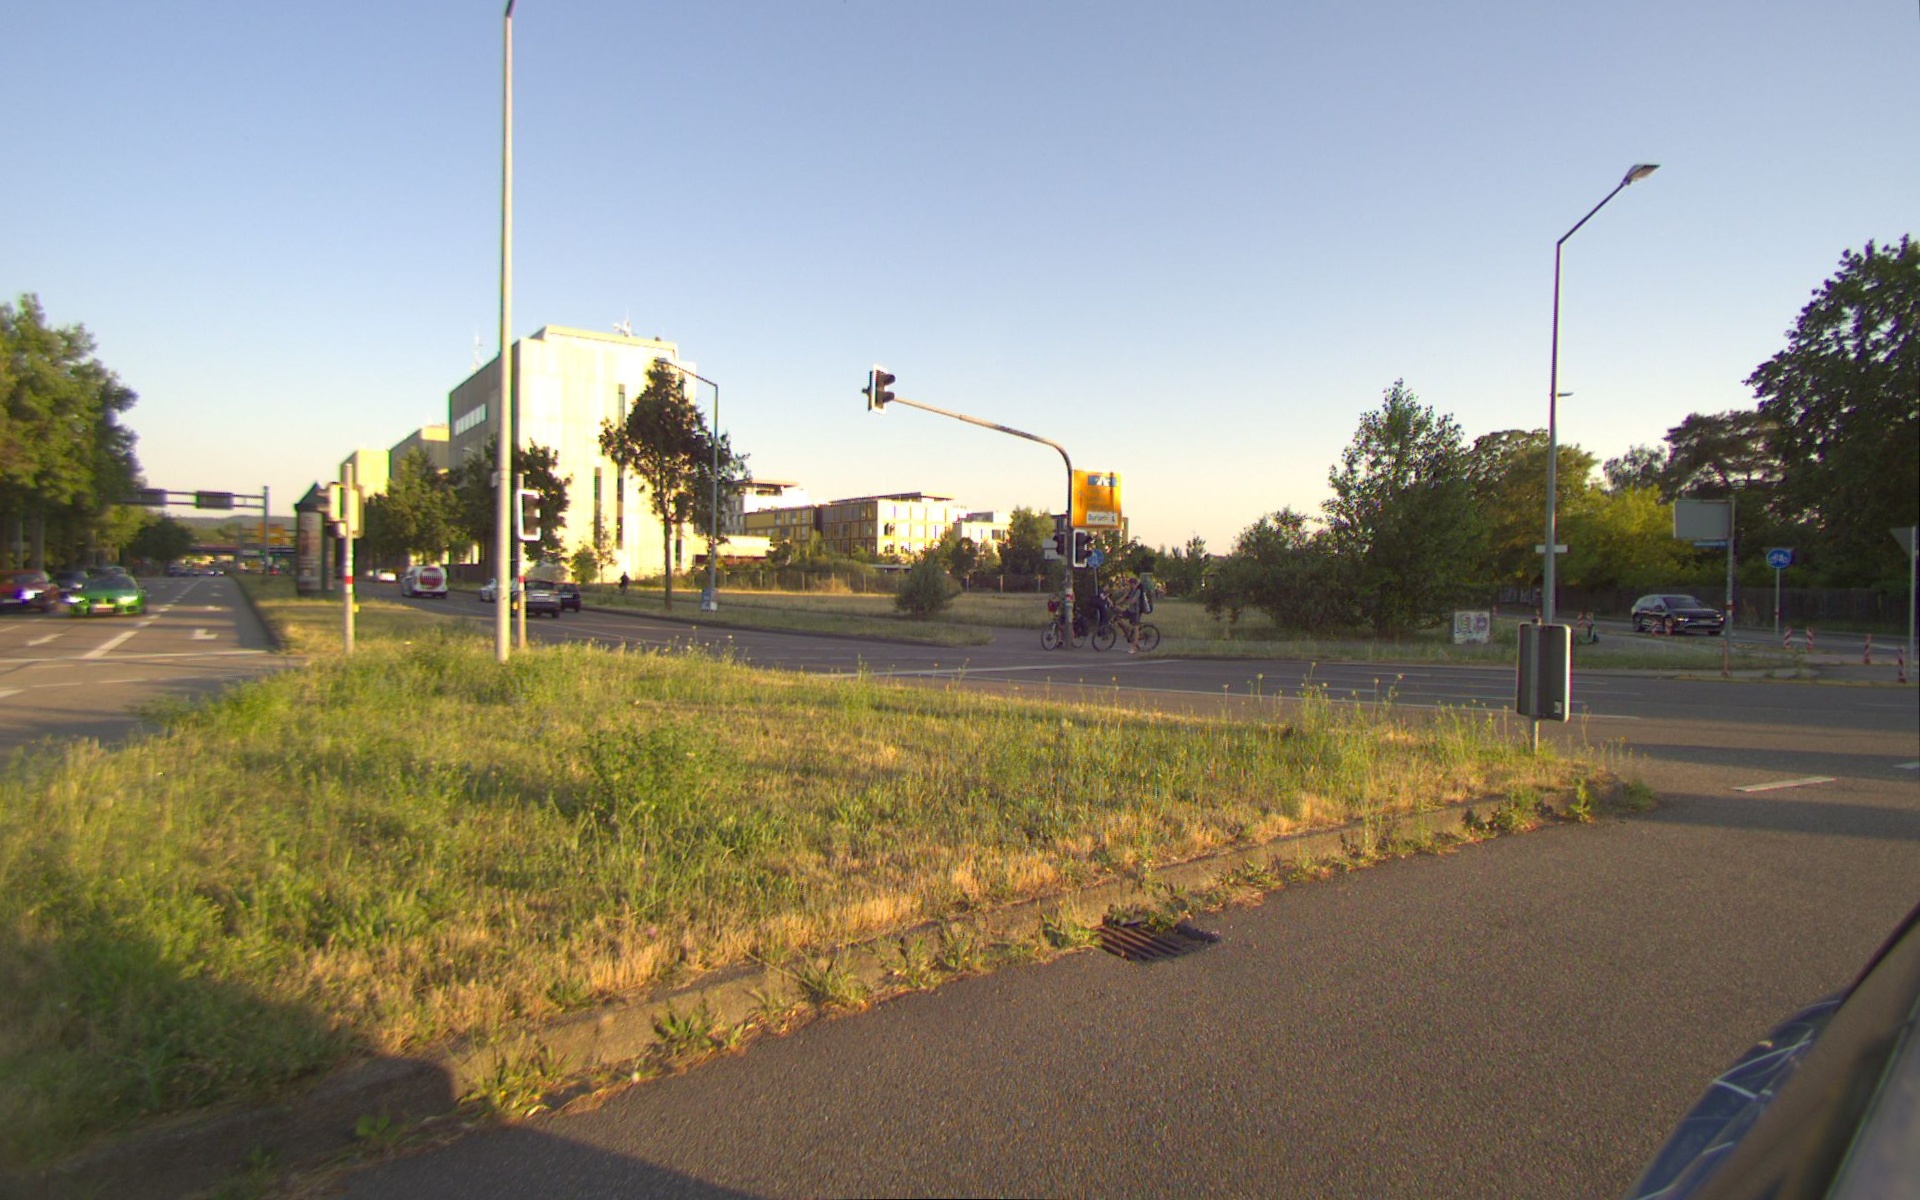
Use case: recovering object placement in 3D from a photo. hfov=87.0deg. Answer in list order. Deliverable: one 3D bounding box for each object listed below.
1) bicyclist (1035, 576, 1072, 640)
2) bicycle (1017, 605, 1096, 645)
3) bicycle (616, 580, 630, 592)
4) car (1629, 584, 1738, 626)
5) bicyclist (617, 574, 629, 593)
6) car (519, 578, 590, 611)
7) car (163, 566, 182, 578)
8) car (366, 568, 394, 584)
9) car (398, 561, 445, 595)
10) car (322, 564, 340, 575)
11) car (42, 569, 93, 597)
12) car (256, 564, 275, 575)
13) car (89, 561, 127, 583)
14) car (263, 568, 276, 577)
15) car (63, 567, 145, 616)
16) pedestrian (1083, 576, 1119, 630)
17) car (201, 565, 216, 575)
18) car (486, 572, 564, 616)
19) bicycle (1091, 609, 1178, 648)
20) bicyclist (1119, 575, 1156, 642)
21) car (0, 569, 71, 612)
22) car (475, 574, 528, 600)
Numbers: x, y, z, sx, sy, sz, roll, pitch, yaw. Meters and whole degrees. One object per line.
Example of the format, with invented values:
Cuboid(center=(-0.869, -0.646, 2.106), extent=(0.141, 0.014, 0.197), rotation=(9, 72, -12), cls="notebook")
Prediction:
Cuboid(center=(2.519, 0.211, 27.336), extent=(0.675, 1.711, 0.726), rotation=(0, 1, -29), cls="bicyclist")
Cuboid(center=(2.605, 0.662, 27.354), extent=(2.065, 0.975, 0.711), rotation=(-2, 2, -27), cls="bicycle")
Cuboid(center=(-22.896, -0.954, 68.702), extent=(0.487, 0.837, 1.515), rotation=(0, 1, -35), cls="bicycle")
Cuboid(center=(30.220, 0.169, 42.445), extent=(1.967, 1.617, 4.304), rotation=(1, 1, 9), cls="car")
Cuboid(center=(-22.896, -1.113, 68.704), extent=(0.606, 1.272, 0.735), rotation=(0, 1, -34), cls="bicyclist")
Cuboid(center=(-19.359, -0.289, 48.220), extent=(1.964, 1.445, 4.193), rotation=(0, 1, -40), cls="car")
Cuboid(center=(-110.831, -3.907, 142.388), extent=(1.879, 1.603, 4.181), rotation=(0, 1, -35), cls="car")
Cuboid(center=(-58.867, -2.474, 102.616), extent=(1.962, 1.528, 5.186), rotation=(0, 1, -35), cls="car")
Cuboid(center=(-33.069, -1.352, 62.080), extent=(2.029, 1.971, 4.962), rotation=(0, 1, -35), cls="car")
Cuboid(center=(-91.205, -4.441, 146.764), extent=(1.963, 1.593, 3.999), rotation=(0, 1, -36), cls="car")
Cuboid(center=(-47.047, -0.934, 53.425), extent=(1.834, 1.407, 4.159), rotation=(0, 1, -39), cls="car")
Cuboid(center=(-92.351, -4.050, 134.553), extent=(1.963, 1.524, 4.111), rotation=(0, 1, -36), cls="car")
Cuboid(center=(-59.807, -1.987, 71.034), extent=(1.836, 1.472, 3.963), rotation=(0, 1, -43), cls="car")
Cuboid(center=(-132.440, -5.277, 194.116), extent=(1.962, 1.805, 4.001), rotation=(0, 1, -35), cls="car")
Cuboid(center=(-29.769, -0.316, 35.302), extent=(1.963, 1.599, 4.483), rotation=(1, 1, -38), cls="car")
Cuboid(center=(4.357, 0.076, 31.204), extent=(0.977, 1.610, 0.923), rotation=(1, 1, 14), cls="pedestrian")
Cuboid(center=(-125.090, -5.010, 168.487), extent=(1.963, 1.524, 4.771), rotation=(0, 1, -36), cls="car")
Cuboid(center=(-17.473, -0.269, 40.551), extent=(1.963, 1.649, 3.998), rotation=(0, 1, -37), cls="car")
Cuboid(center=(4.532, 0.735, 26.249), extent=(2.100, 0.975, 0.711), rotation=(1, 1, -15), cls="bicycle")
Cuboid(center=(4.605, 0.212, 26.270), extent=(0.674, 1.711, 0.727), rotation=(1, 1, -13), cls="bicyclist")
Cuboid(center=(-36.011, -0.399, 39.046), extent=(1.961, 1.593, 4.418), rotation=(0, 1, -33), cls="car")
Cuboid(center=(-26.568, -0.746, 58.557), extent=(1.962, 1.425, 4.525), rotation=(0, 1, -36), cls="car")
